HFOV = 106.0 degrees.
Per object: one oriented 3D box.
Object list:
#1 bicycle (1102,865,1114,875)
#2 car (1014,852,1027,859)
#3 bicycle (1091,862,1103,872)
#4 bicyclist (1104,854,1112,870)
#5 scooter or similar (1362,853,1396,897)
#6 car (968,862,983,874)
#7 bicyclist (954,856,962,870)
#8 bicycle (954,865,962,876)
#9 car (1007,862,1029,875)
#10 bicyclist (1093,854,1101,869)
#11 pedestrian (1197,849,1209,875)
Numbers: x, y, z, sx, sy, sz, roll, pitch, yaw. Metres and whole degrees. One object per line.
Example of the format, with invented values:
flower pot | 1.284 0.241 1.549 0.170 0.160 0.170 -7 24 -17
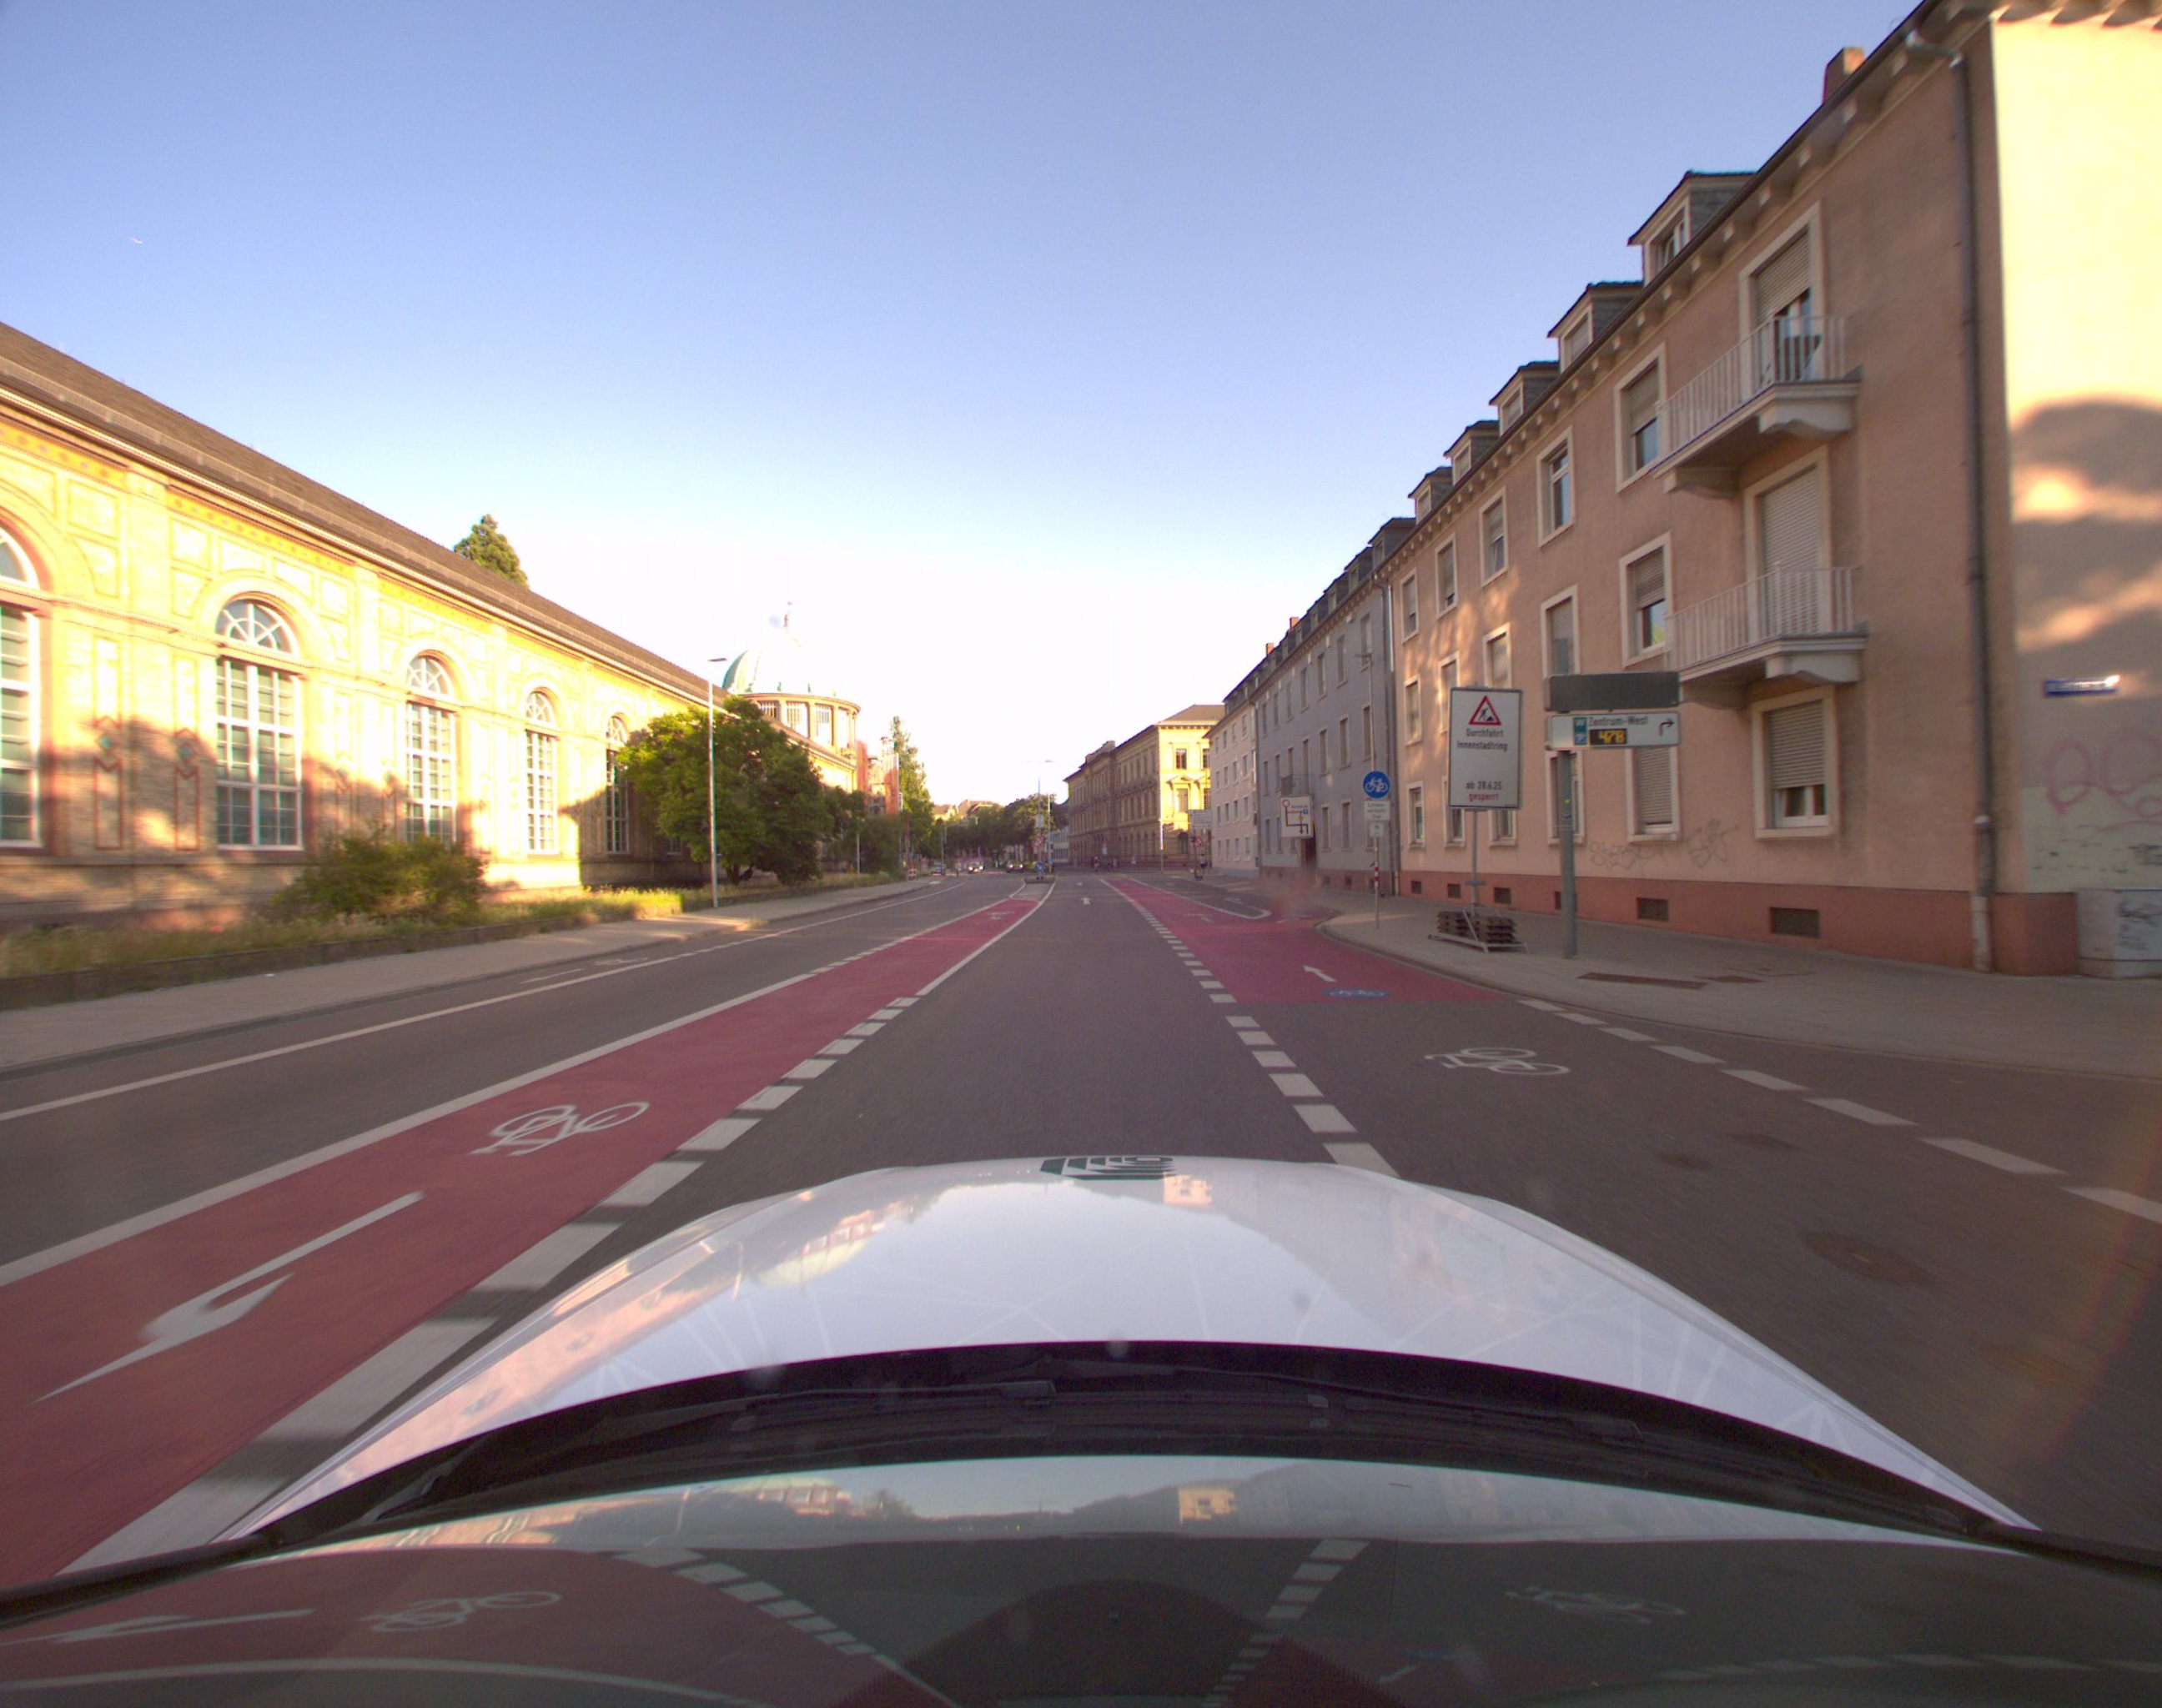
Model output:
bicycle | 2.911 1.764 87.927 0.654 1.071 2.247 1 -1 -14
car | -14.243 0.361 191.938 1.819 1.560 3.836 -1 -1 -22
bicycle | 1.727 1.386 88.009 0.671 1.071 1.890 1 -1 -17
bicyclist | 2.880 0.890 88.137 0.650 1.760 0.860 1 -1 -15
scooter or similar | 10.348 0.719 28.371 0.721 1.459 1.676 -4 -1 9
car | -13.614 1.808 105.669 1.821 1.508 4.416 -1 0 -7
bicyclist | -13.310 0.990 88.009 0.746 1.460 0.935 -3 -1 -7
bicycle | -13.274 1.808 87.987 0.753 1.090 1.927 -3 0 -7
car | -7.541 1.724 97.999 1.835 1.547 4.127 -2 0 8
bicyclist | 1.754 0.785 87.947 0.670 1.566 0.694 1 -2 -17
pedestrian | 9.699 0.614 64.581 0.779 2.014 0.998 -1 -1 14
